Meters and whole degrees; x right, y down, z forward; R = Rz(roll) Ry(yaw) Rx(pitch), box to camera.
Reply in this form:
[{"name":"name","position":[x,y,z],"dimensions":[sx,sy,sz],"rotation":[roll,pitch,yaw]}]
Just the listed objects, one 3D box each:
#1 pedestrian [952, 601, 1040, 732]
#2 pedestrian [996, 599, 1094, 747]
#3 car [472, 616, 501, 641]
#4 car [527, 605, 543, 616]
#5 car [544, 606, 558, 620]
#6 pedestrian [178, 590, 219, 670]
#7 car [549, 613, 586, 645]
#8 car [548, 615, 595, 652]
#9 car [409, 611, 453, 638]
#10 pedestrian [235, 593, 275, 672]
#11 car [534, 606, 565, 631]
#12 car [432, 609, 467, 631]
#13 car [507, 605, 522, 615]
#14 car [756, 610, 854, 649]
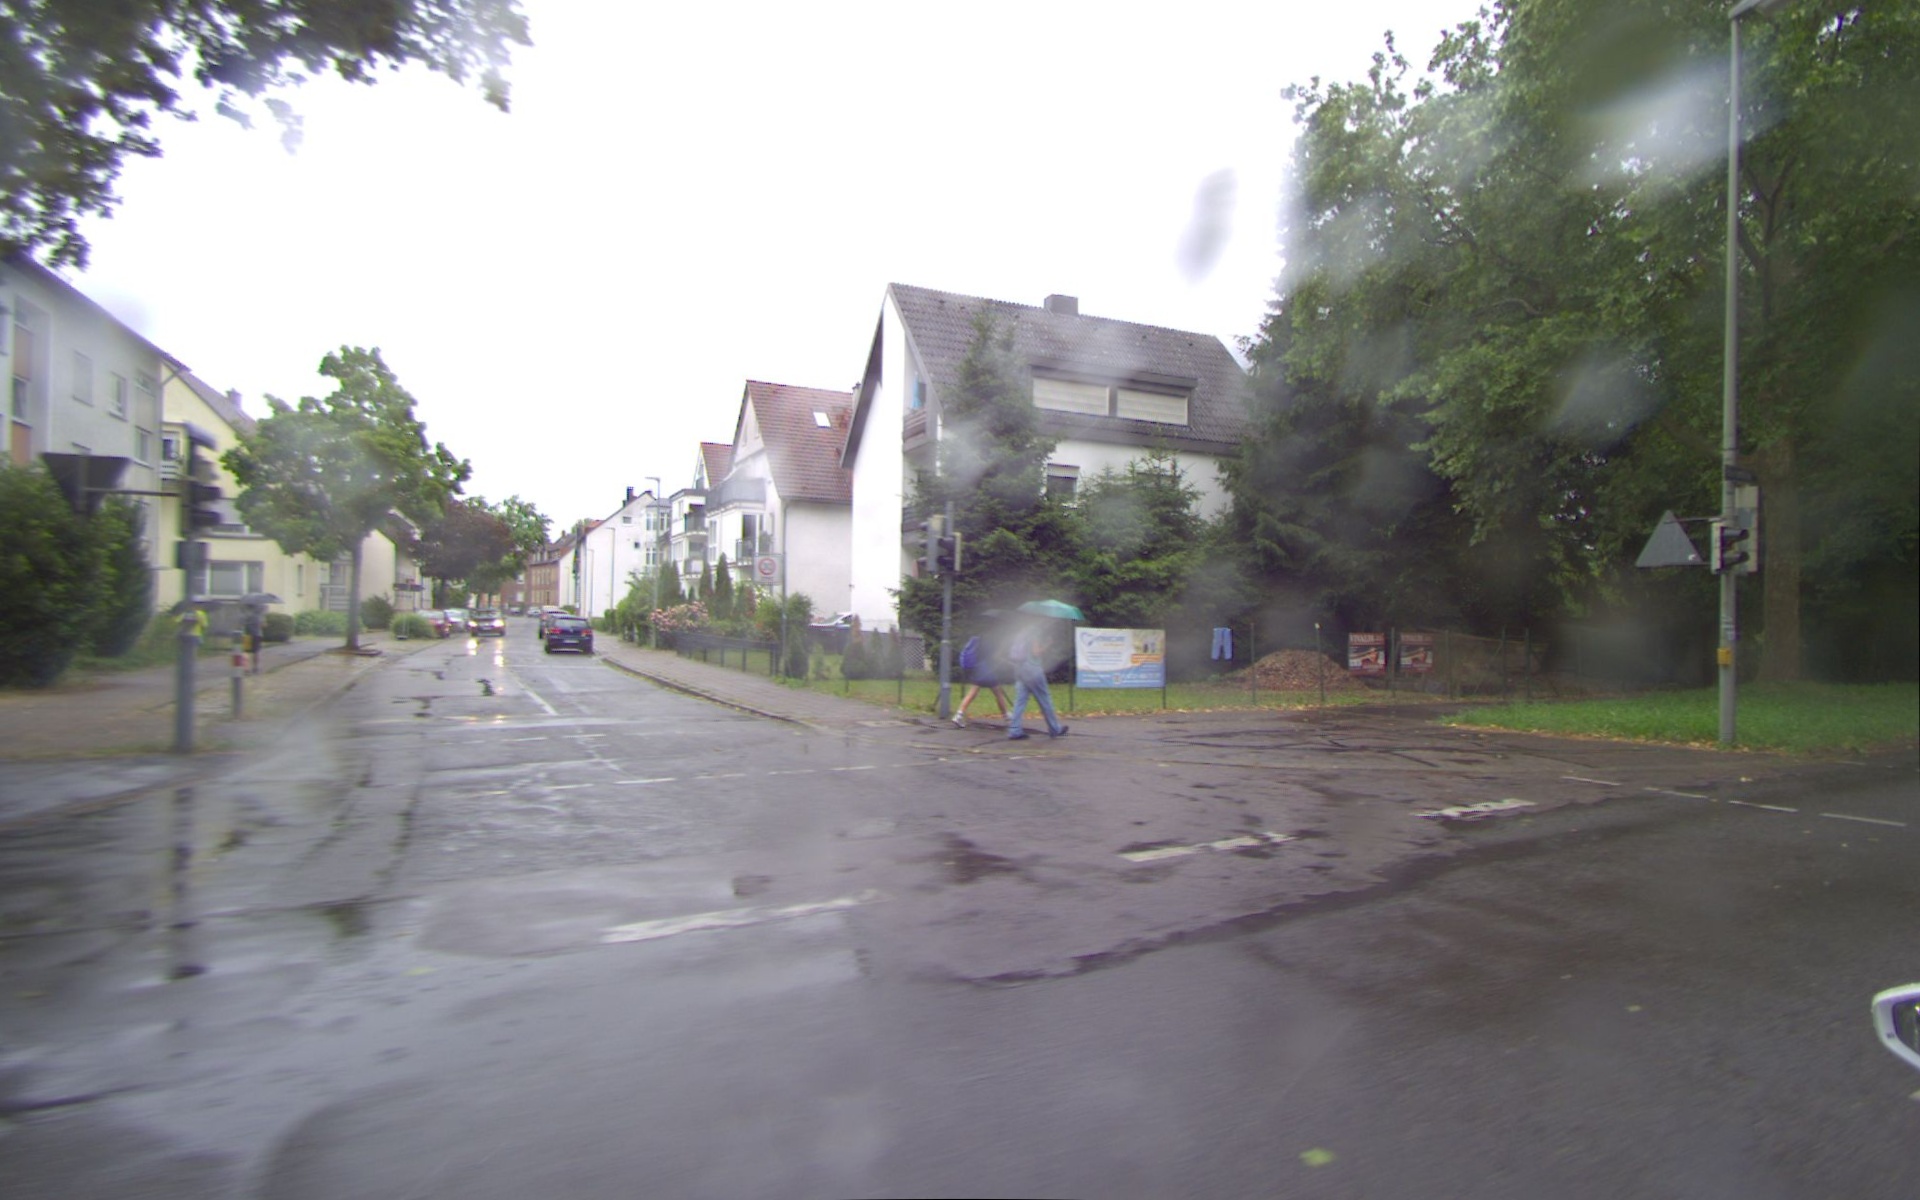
[{"name":"pedestrian","position":[0.505,0.923,14.345],"dimensions":[0.868,1.788,1.029],"rotation":[1,-2,-27]},{"name":"pedestrian","position":[1.071,0.905,12.803],"dimensions":[0.827,1.788,1.029],"rotation":[1,-2,-27]},{"name":"car","position":[-28.413,1.707,60.350],"dimensions":[1.506,1.390,3.710],"rotation":[2,-1,-25]},{"name":"car","position":[-64.607,1.601,152.746],"dimensions":[1.860,1.606,3.971],"rotation":[2,-1,-28]},{"name":"car","position":[-43.901,1.368,107.771],"dimensions":[1.268,1.434,2.963],"rotation":[2,-2,-24]},{"name":"pedestrian","position":[-17.215,0.675,22.724],"dimensions":[0.632,1.768,0.589],"rotation":[1,-1,-30]},{"name":"car","position":[-19.435,1.409,49.652],"dimensions":[1.515,1.535,3.431],"rotation":[1,-1,-24]},{"name":"car","position":[-15.790,1.328,40.810],"dimensions":[1.668,1.390,3.700],"rotation":[2,-1,-22]},{"name":"car","position":[-28.711,1.330,54.603],"dimensions":[1.668,1.390,3.713],"rotation":[2,-1,-22]},{"name":"pedestrian","position":[-16.195,0.737,23.084],"dimensions":[0.632,1.768,0.855],"rotation":[1,-1,-30]},{"name":"car","position":[-23.753,1.063,58.232],"dimensions":[1.577,1.390,3.713],"rotation":[2,-1,-22]},{"name":"car","position":[-34.204,1.301,67.360],"dimensions":[1.668,1.390,3.713],"rotation":[2,-1,-22]},{"name":"car","position":[-72.949,1.626,164.451],"dimensions":[1.860,1.606,3.971],"rotation":[2,-1,-28]},{"name":"car","position":[-6.245,1.220,40.530],"dimensions":[3.611,1.465,1.610],"rotation":[2,-2,-28]}]
